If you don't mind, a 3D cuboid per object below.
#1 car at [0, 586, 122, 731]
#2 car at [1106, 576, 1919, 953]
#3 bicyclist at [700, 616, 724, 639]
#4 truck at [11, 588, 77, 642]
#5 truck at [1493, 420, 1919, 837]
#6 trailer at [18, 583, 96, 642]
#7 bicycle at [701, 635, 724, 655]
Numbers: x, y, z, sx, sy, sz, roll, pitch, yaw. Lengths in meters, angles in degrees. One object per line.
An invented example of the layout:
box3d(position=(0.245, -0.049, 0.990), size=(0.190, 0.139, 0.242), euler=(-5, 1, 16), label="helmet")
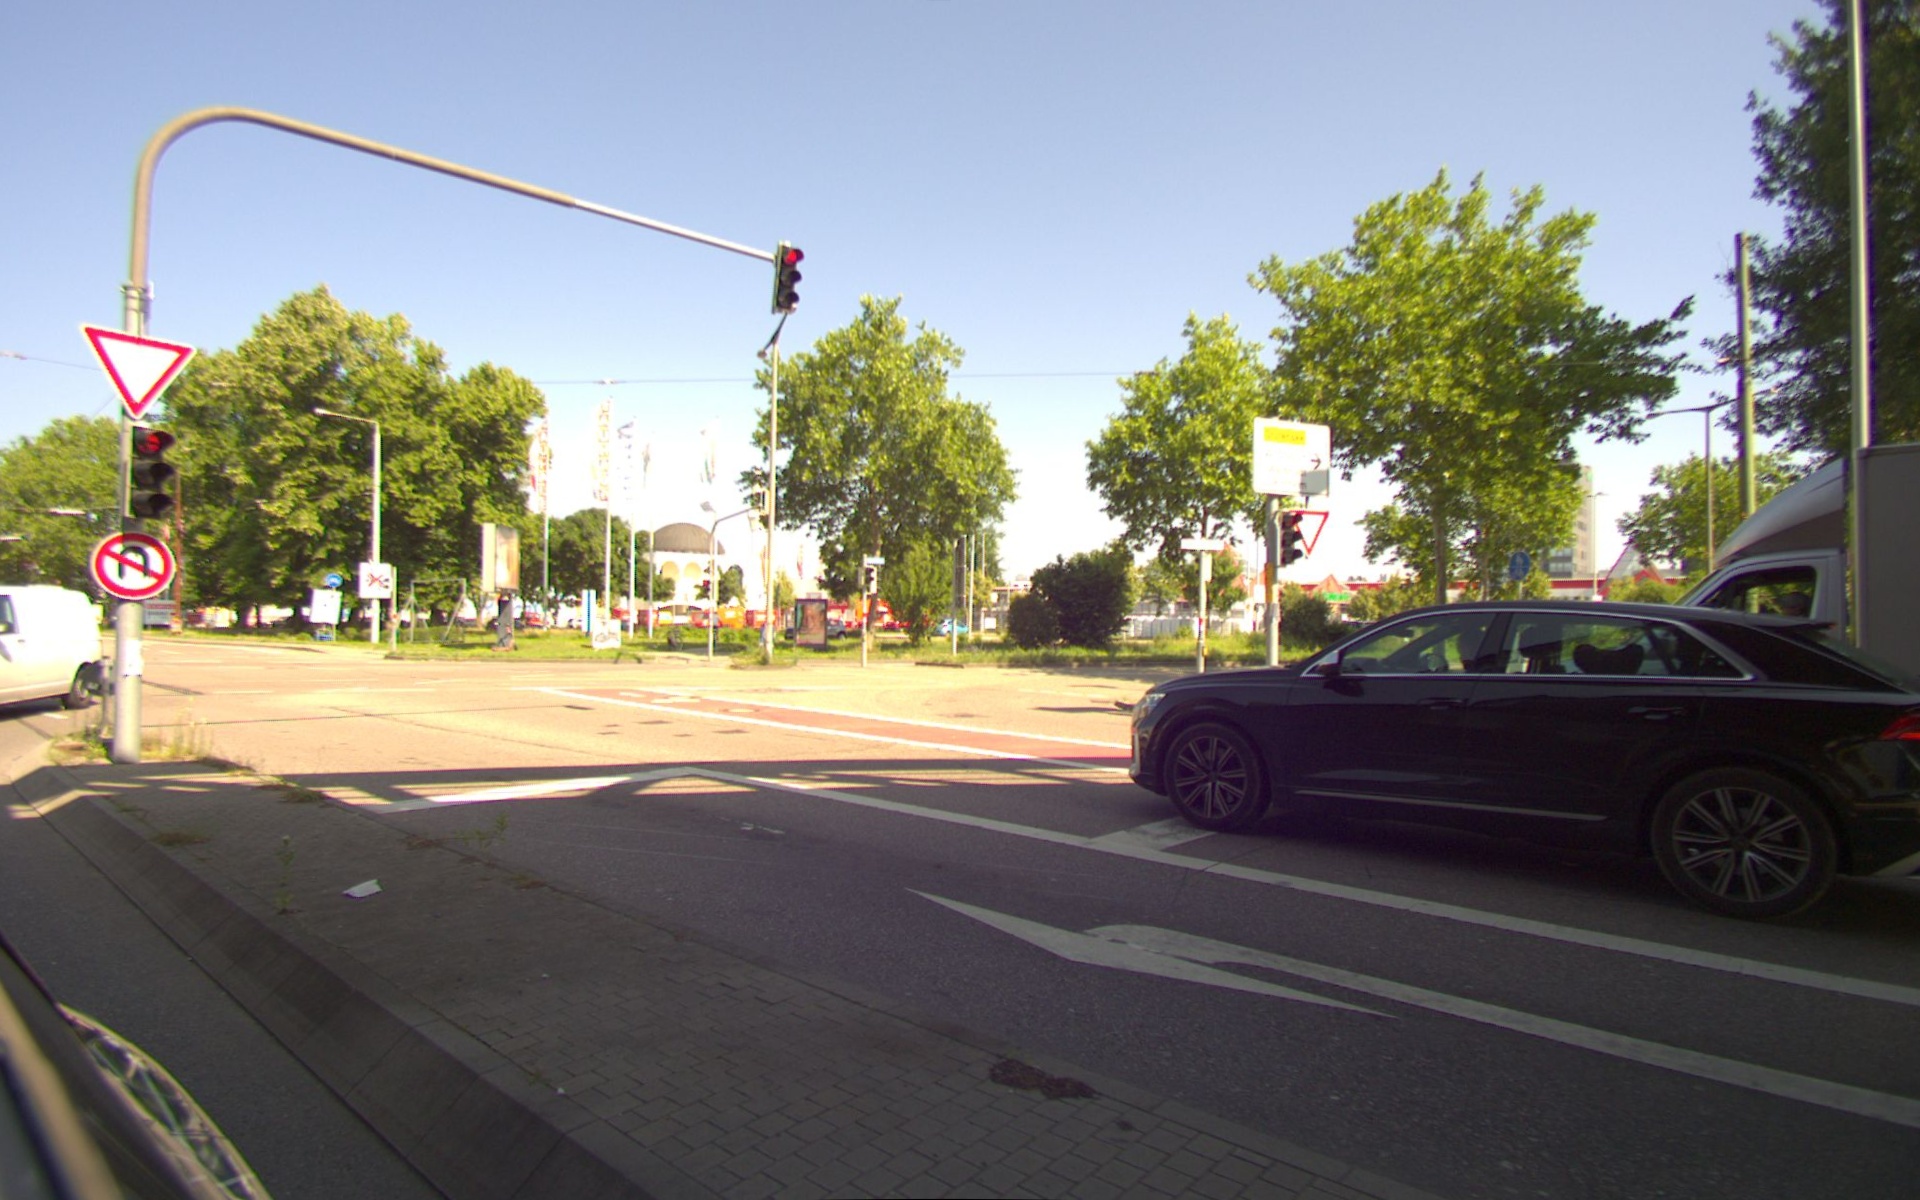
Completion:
box3d(position=(-14.411, 0.818, 14.512), size=(1.856, 2.009, 4.989), euler=(1, -1, -17), label="car")
box3d(position=(3.562, 0.781, 6.622), size=(4.950, 1.694, 1.972), euler=(-1, -2, 43), label="car")
box3d(position=(-11.781, 1.319, 48.057), size=(0.880, 1.092, 0.951), euler=(0, -1, 3), label="bicyclist")
box3d(position=(-72.061, 1.247, 79.574), size=(8.151, 4.020, 2.901), euler=(-2, 0, 42), label="truck")
box3d(position=(8.403, 0.218, 8.044), size=(7.062, 3.112, 2.318), euler=(-1, -1, 39), label="truck")
box3d(position=(-67.226, 1.015, 75.214), size=(12.135, 3.992, 2.901), euler=(-2, 0, 42), label="trailer")
box3d(position=(-11.756, 2.120, 48.087), size=(0.539, 0.929, 1.875), euler=(0, -1, 2), label="bicycle")
